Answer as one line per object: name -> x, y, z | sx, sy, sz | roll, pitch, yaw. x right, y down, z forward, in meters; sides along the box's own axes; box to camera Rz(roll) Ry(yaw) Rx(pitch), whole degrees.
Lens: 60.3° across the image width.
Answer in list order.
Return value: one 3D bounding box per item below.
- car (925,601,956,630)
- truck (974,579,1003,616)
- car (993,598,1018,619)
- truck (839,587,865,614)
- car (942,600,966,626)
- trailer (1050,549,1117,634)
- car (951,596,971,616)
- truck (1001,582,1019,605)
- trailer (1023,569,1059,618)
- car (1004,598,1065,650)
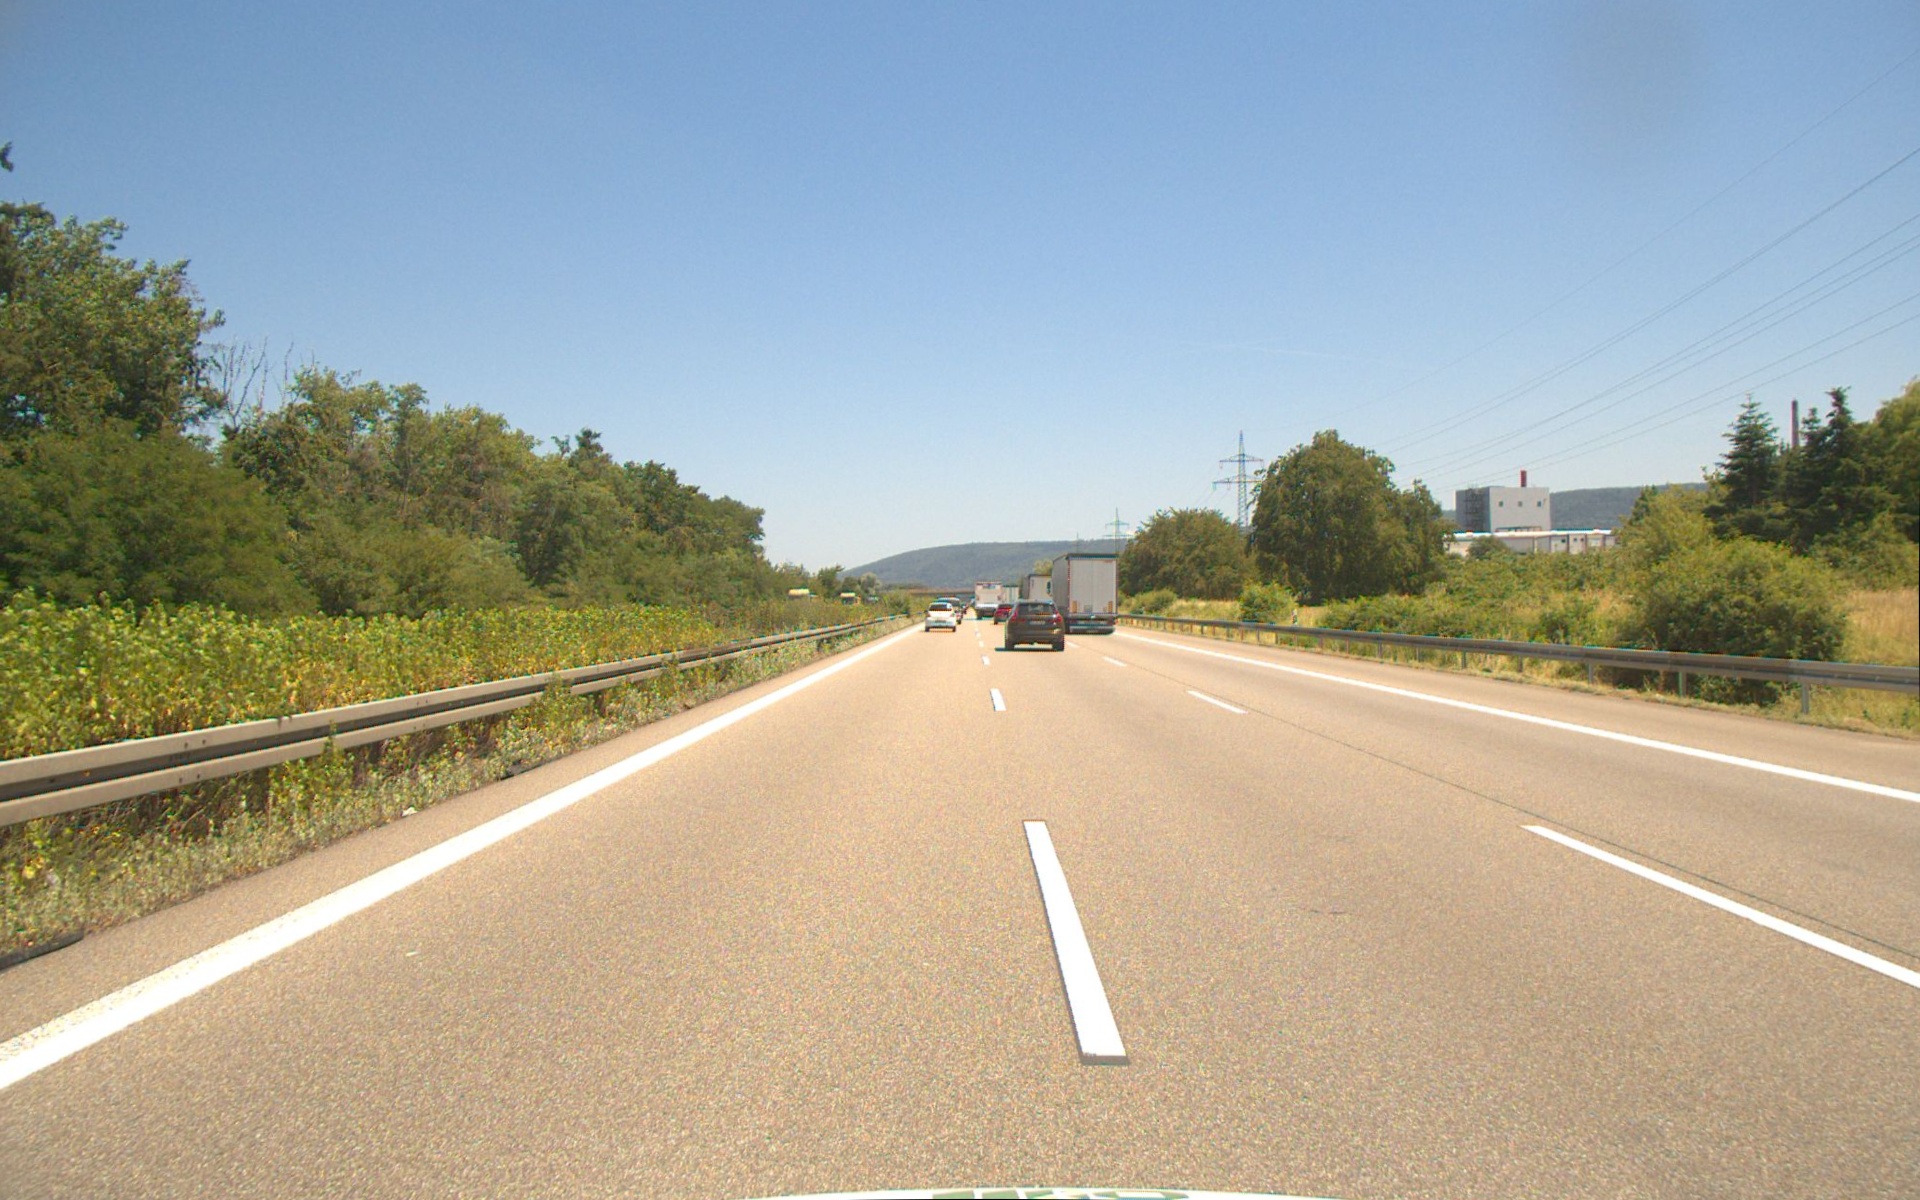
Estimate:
car -> -1.038, 0.810, 89.090 | 1.574, 1.493, 4.000 | -1, 0, 0
truck -> 2.675, -0.244, 158.449 | 2.725, 3.432, 8.127 | 0, 0, 0
car -> 3.370, 0.630, 122.759 | 1.766, 1.572, 4.000 | 0, 0, 0
truck -> -16.212, 0.115, 248.230 | 2.840, 3.770, 11.898 | -3, 0, 0
car -> -0.455, 0.953, 121.661 | 1.725, 1.883, 4.000 | -1, 0, 0
trailer -> 6.481, -0.402, 88.625 | 2.680, 4.178, 13.122 | 0, 0, 0
car -> 0.096, 0.614, 168.784 | 1.953, 2.049, 3.999 | -1, 0, -1
truck -> 7.239, -0.935, 240.453 | 2.176, 3.265, 10.384 | -1, 0, 0
trailer -> 7.310, -0.519, 151.209 | 2.731, 4.236, 13.575 | -2, 0, 1
car -> 2.434, 0.762, 54.798 | 1.835, 1.652, 4.004 | 0, 0, 0
